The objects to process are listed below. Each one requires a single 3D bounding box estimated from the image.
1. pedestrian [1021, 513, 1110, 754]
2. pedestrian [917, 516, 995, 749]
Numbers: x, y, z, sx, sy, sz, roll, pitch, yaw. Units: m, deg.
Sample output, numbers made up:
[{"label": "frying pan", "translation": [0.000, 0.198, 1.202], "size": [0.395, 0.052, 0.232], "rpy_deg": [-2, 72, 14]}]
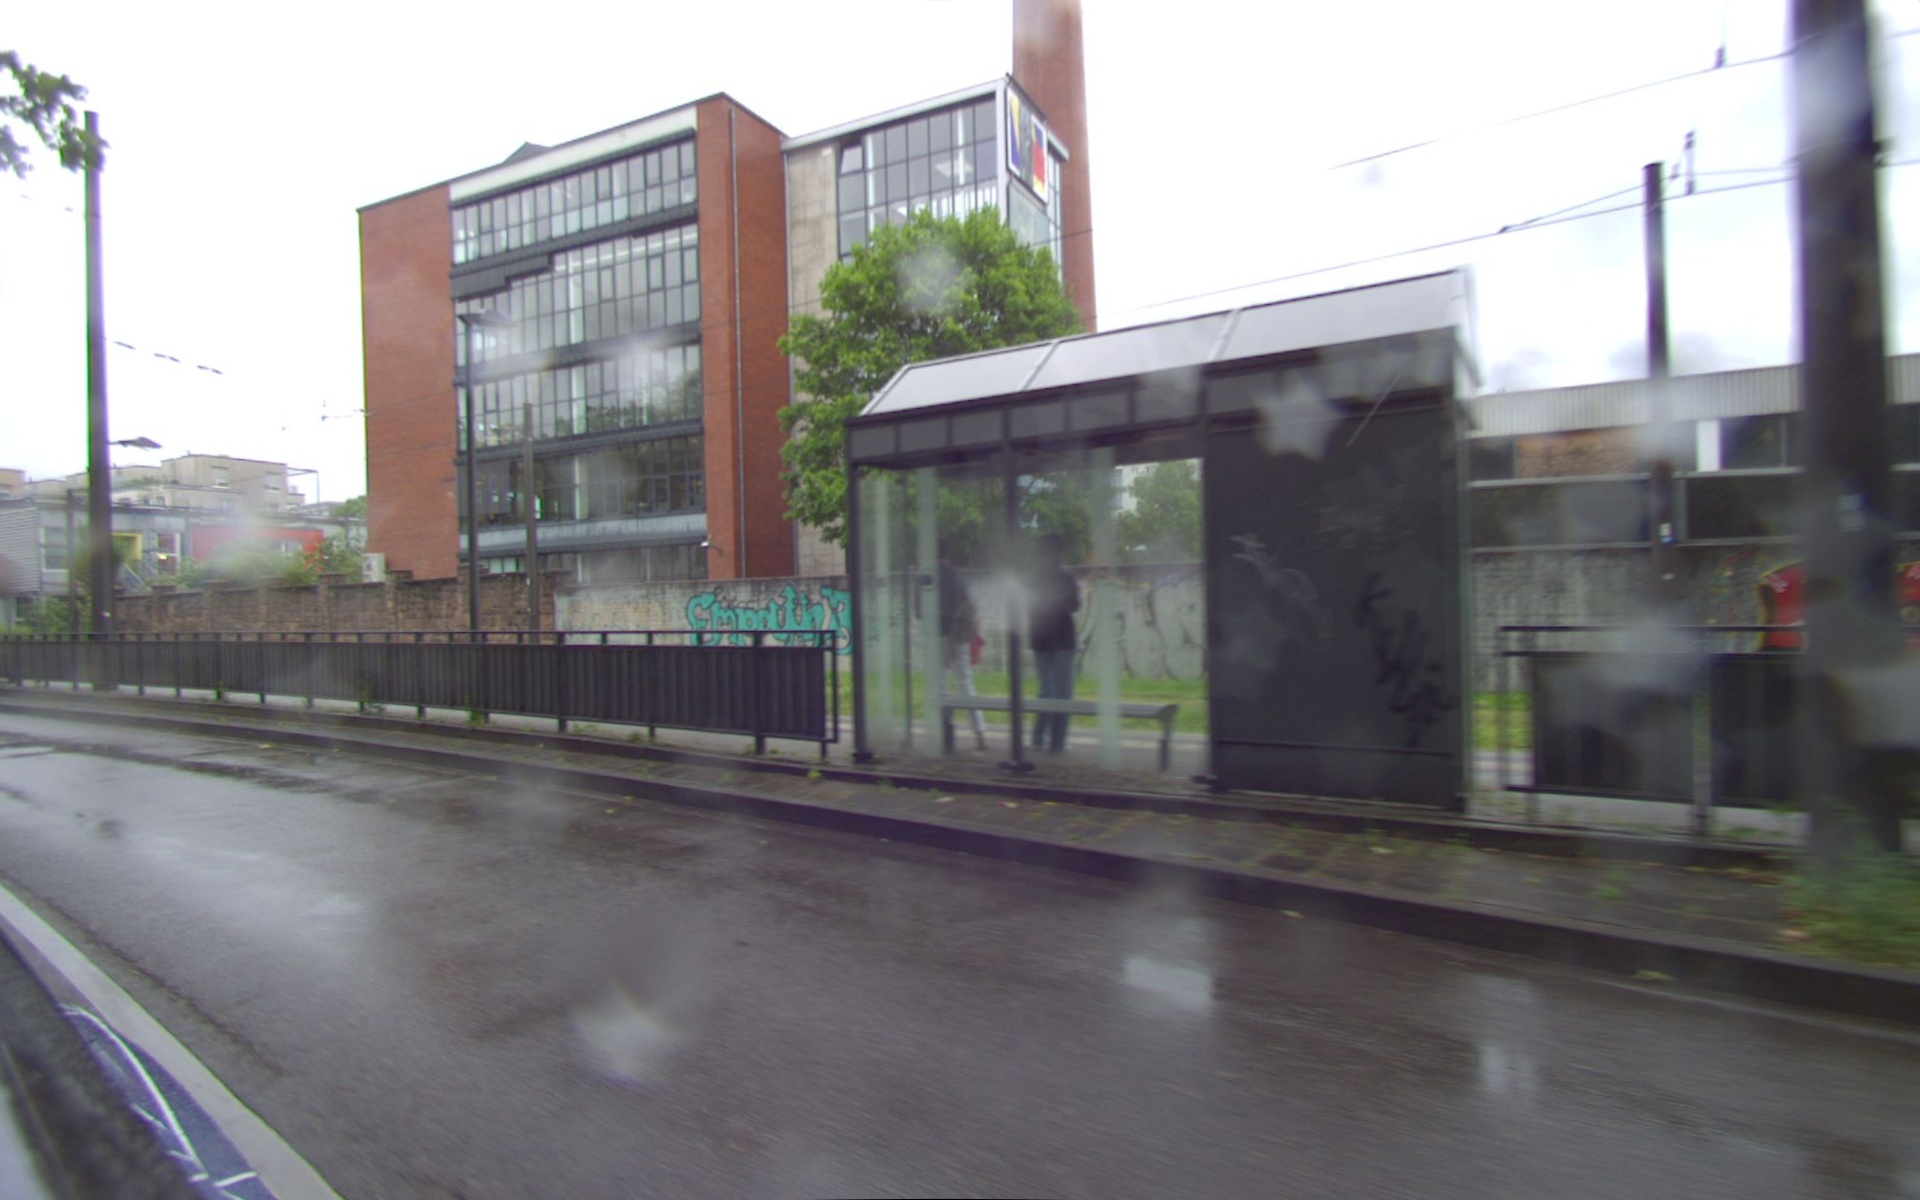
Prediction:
[{"label": "pedestrian", "translation": [0.785, 0.248, 7.668], "size": [0.560, 1.744, 0.583], "rpy_deg": [-1, -2, -2]}, {"label": "pedestrian", "translation": [-0.035, 0.250, 7.903], "size": [0.560, 1.744, 0.583], "rpy_deg": [-1, -2, 0]}]
